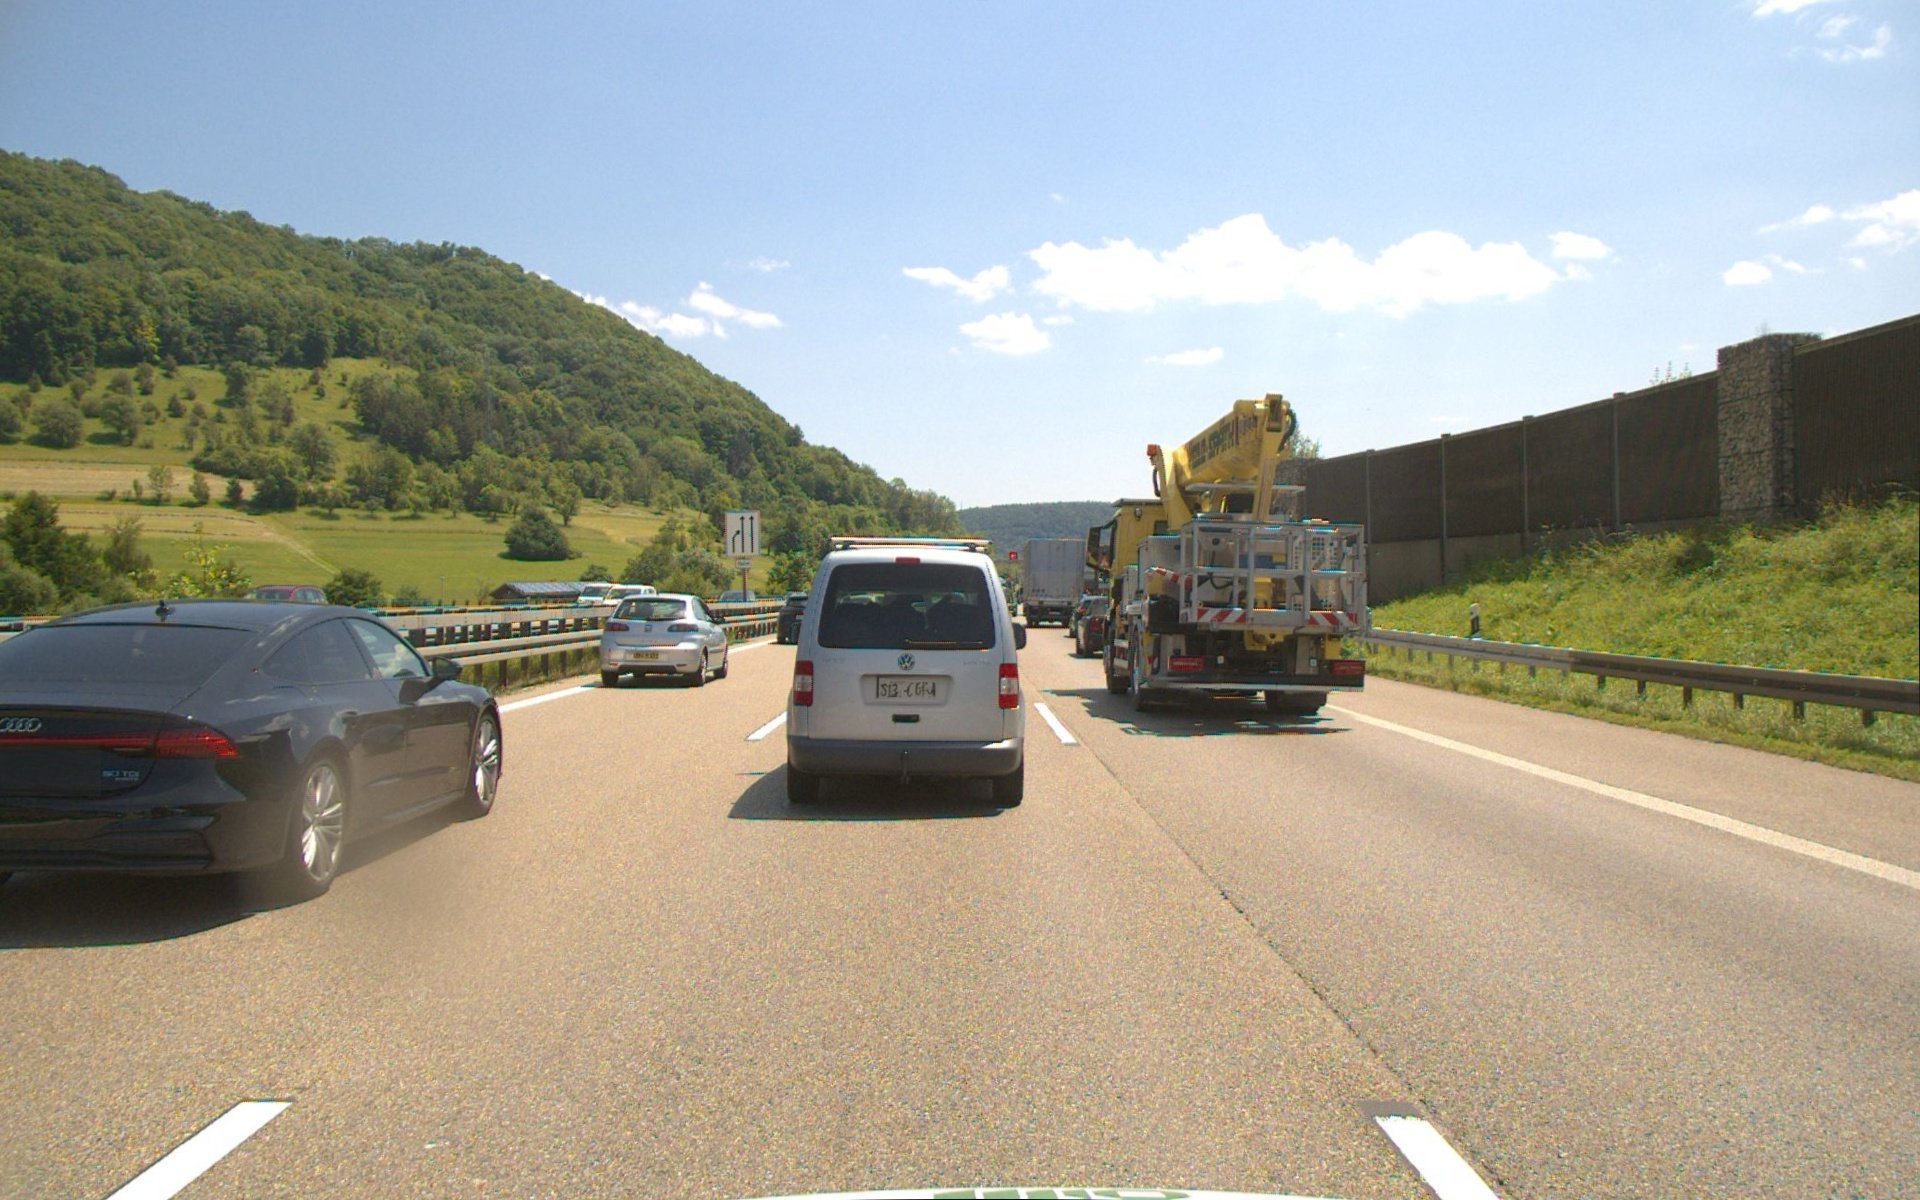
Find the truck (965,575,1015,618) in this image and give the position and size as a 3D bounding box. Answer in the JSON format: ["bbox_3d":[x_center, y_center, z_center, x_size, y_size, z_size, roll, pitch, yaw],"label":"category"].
[{"bbox_3d":[1.899,-0.222,103.012,2.339,2.585,5.944,0,0,9],"label":"truck"}]

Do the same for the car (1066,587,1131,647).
[{"bbox_3d":[4.825,0.573,58.128,1.953,2.049,4.000,0,0,0],"label":"car"}]

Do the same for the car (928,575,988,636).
[{"bbox_3d":[-0.104,0.171,56.074,1.953,2.010,3.999,0,0,-2],"label":"car"}]

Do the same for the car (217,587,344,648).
[{"bbox_3d":[-19.380,0.476,47.374,1.788,1.673,4.544,0,0,-1],"label":"car"}]

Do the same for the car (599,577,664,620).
[{"bbox_3d":[-14.741,-0.073,74.428,1.953,1.871,5.226,0,0,-1],"label":"car"}]

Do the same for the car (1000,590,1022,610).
[{"bbox_3d":[4.818,-0.019,157.241,1.953,1.837,3.999,1,0,-1],"label":"car"}]

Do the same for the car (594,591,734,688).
[{"bbox_3d":[-4.761,0.589,27.063,1.661,1.470,3.861,0,0,-1],"label":"car"}]

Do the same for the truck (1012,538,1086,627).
[{"bbox_3d":[4.042,-0.763,77.035,2.880,3.890,8.235,1,0,0],"label":"truck"}]

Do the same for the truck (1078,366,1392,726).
[{"bbox_3d":[3.392,-0.619,22.850,2.649,4.011,8.719,0,0,-2],"label":"truck"}]

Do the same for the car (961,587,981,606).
[{"bbox_3d":[1.089,-0.344,165.519,1.953,1.837,3.999,1,0,-1],"label":"car"}]

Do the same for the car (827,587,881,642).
[{"bbox_3d":[-4.089,0.548,64.280,1.953,2.049,3.999,-1,0,-2],"label":"car"}]

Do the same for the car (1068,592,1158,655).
[{"bbox_3d":[3.706,0.536,40.553,1.750,1.484,3.769,0,0,-2],"label":"car"}]

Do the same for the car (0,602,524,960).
[{"bbox_3d":[-3.912,0.733,9.149,1.764,1.415,4.968,0,0,-1],"label":"car"}]

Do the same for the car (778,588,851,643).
[{"bbox_3d":[-4.235,0.433,48.559,1.886,1.525,3.999,1,0,-2],"label":"car"}]

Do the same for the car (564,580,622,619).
[{"bbox_3d":[-19.145,-0.018,86.480,2.018,1.975,4.660,0,0,-1],"label":"car"}]

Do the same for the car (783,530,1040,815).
[{"bbox_3d":[-0.380,0.474,13.070,1.720,1.900,3.999,0,0,-2],"label":"car"}]
